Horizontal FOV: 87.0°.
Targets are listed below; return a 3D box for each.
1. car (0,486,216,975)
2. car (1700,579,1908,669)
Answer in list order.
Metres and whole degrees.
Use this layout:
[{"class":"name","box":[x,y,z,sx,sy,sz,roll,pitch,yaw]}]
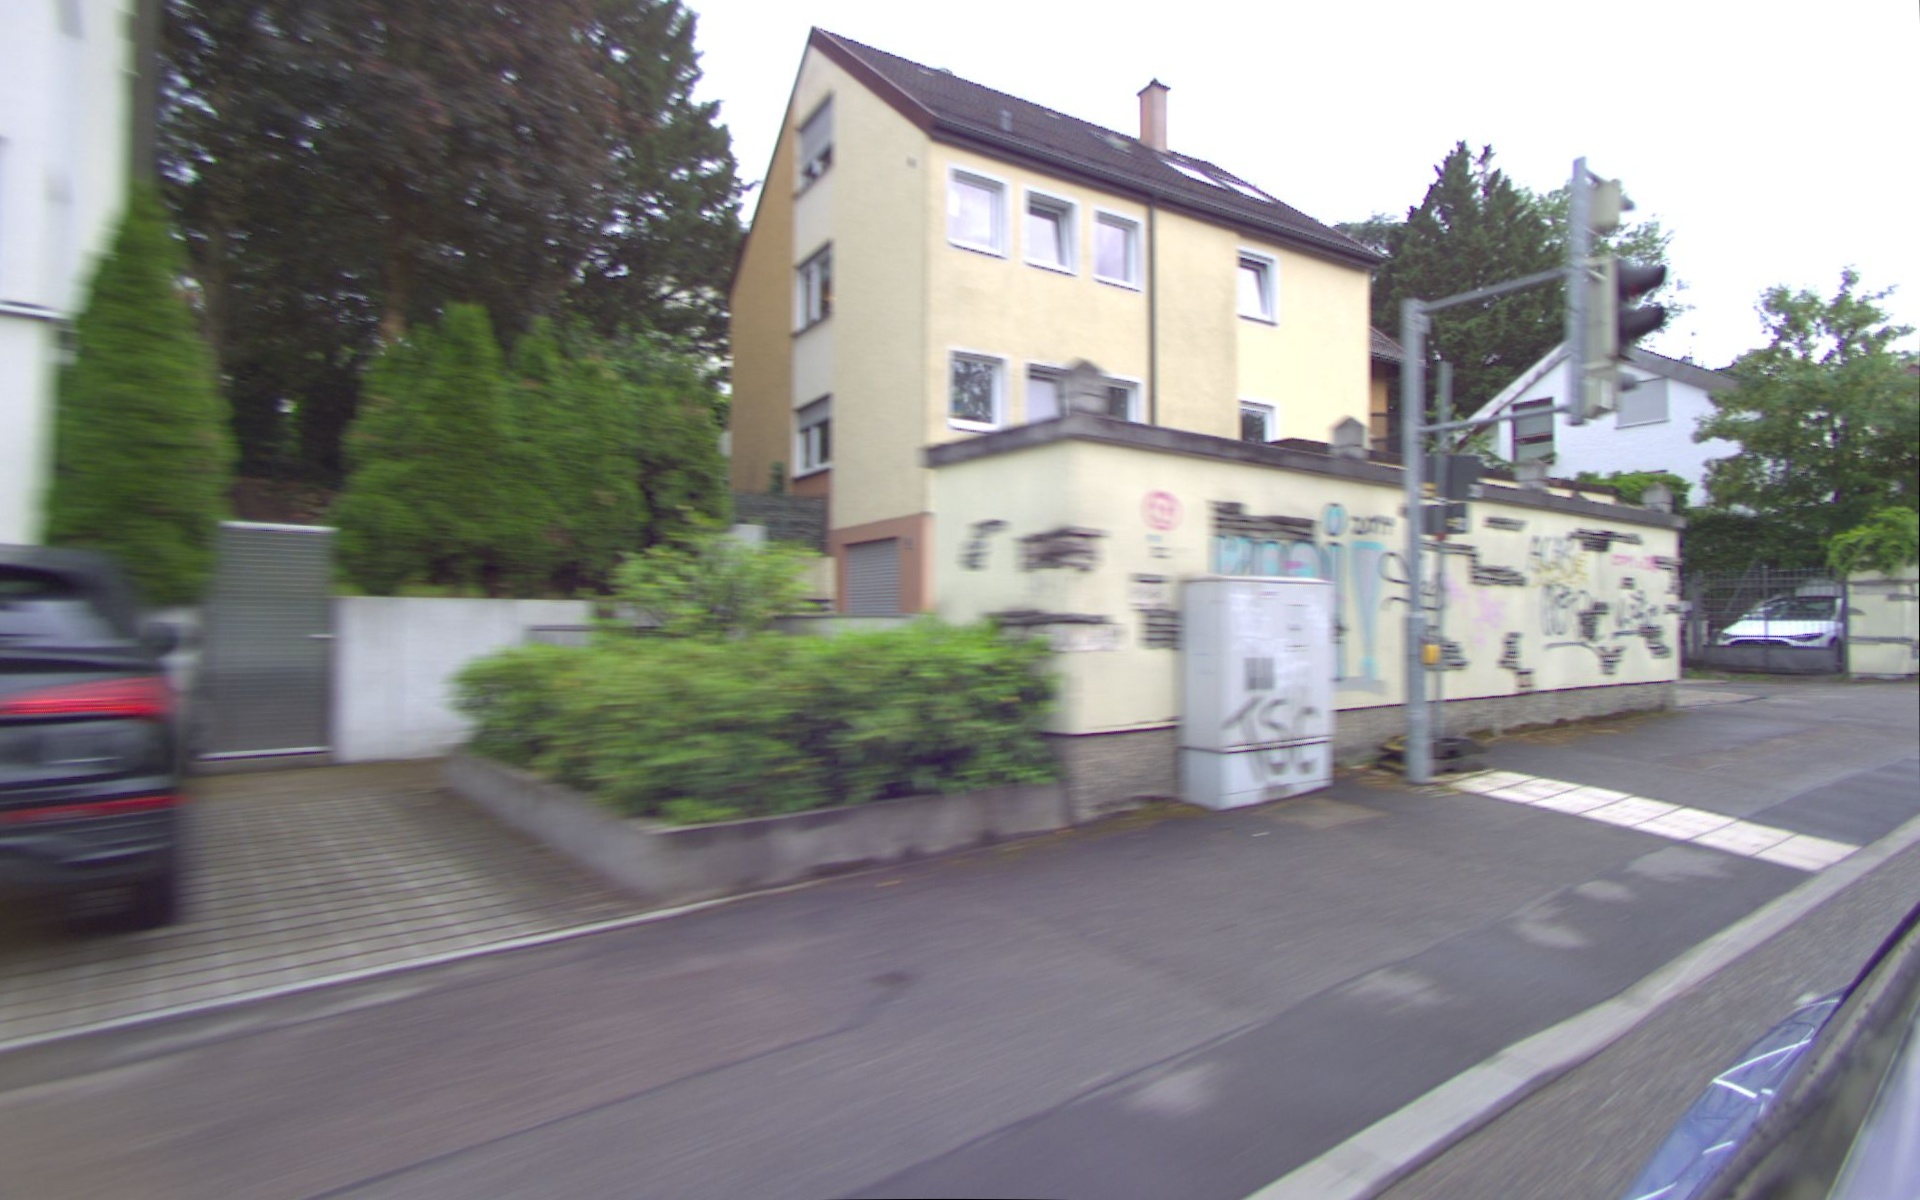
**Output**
[{"class":"car","box":[-4.865,0.523,4.770,1.957,1.616,4.335,-1,-2,-39]},{"class":"car","box":[17.133,0.423,20.508,4.256,1.616,1.939,-1,0,-31]}]
